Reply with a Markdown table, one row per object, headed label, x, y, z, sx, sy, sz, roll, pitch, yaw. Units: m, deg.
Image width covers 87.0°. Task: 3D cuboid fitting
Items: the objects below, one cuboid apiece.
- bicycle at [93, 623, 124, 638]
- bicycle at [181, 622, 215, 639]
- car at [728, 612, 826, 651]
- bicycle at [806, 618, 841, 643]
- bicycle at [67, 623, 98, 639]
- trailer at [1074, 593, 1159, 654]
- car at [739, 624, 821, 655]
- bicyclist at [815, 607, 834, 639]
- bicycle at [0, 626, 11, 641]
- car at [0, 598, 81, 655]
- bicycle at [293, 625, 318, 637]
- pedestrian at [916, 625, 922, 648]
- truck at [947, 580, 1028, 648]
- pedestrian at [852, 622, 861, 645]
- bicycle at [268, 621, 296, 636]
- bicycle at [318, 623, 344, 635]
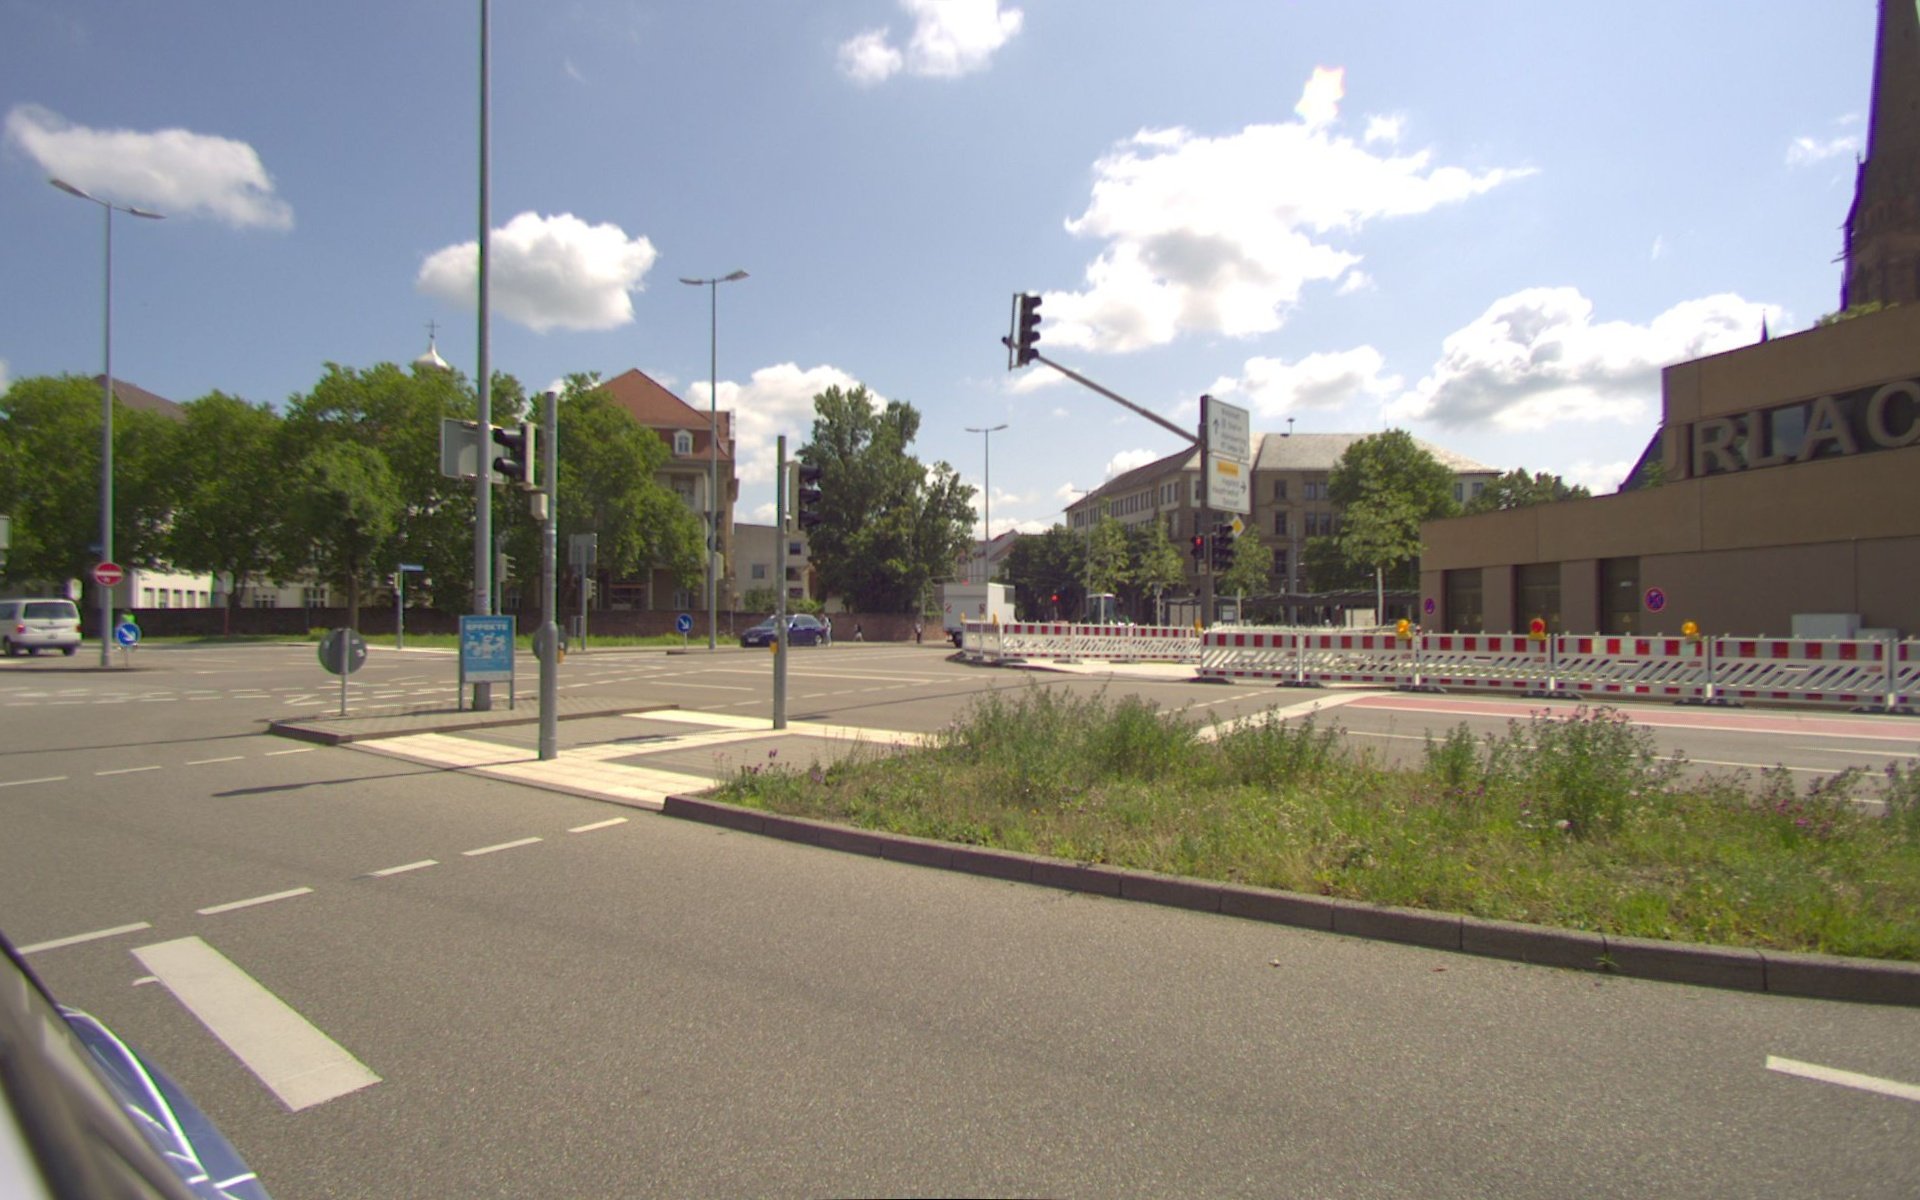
| label | x | y | z | sx | sy | sz | roll | pitch | yaw |
| --- | --- | --- | --- | --- | --- | --- | --- | --- | --- |
| bicycle | -59.208 | 2.112 | 70.358 | 1.933 | 1.051 | 0.397 | 0 | -1 | 6 |
| bicycle | -52.864 | 2.128 | 70.198 | 2.010 | 1.146 | 0.398 | 0 | -1 | 1 |
| car | -7.432 | 1.295 | 41.593 | 1.985 | 1.497 | 4.638 | -1 | -2 | 20 |
| bicycle | -6.643 | 1.468 | 49.434 | 0.664 | 1.155 | 2.050 | 0 | 0 | 26 |
| bicycle | -61.207 | 2.159 | 70.576 | 1.933 | 1.051 | 0.397 | 0 | -1 | 6 |
| trailer | 7.848 | 1.116 | 51.117 | 1.966 | 2.935 | 4.380 | 0 | 0 | -29 |
| car | -9.113 | 1.982 | 51.603 | 1.988 | 1.497 | 4.474 | -1 | -2 | 24 |
| bicyclist | -6.626 | 1.136 | 49.461 | 0.664 | 1.545 | 0.641 | 0 | 0 | 27 |
| bicycle | -67.994 | 2.352 | 71.378 | 1.935 | 1.051 | 0.397 | 0 | -1 | 8 |
| car | -33.310 | 0.950 | 35.857 | 4.852 | 1.909 | 1.867 | -1 | -2 | 31 |
| bicycle | -45.407 | 2.155 | 70.206 | 1.445 | 0.795 | 0.398 | 0 | -1 | -2 |
| pedestrian | -3.300 | 2.933 | 81.231 | 0.433 | 1.834 | 0.568 | 0 | 0 | 7 |
| truck | 1.462 | 0.613 | 49.307 | 1.984 | 3.090 | 7.287 | 0 | 0 | 18 |
| pedestrian | -7.981 | 2.579 | 77.923 | 0.668 | 1.708 | 0.489 | 0 | 0 | -14 |
| bicycle | -46.988 | 1.976 | 70.170 | 1.663 | 1.038 | 0.398 | 0 | -1 | -2 |
| bicycle | -43.717 | 2.016 | 70.319 | 1.522 | 0.795 | 0.398 | 0 | -1 | -2 |
